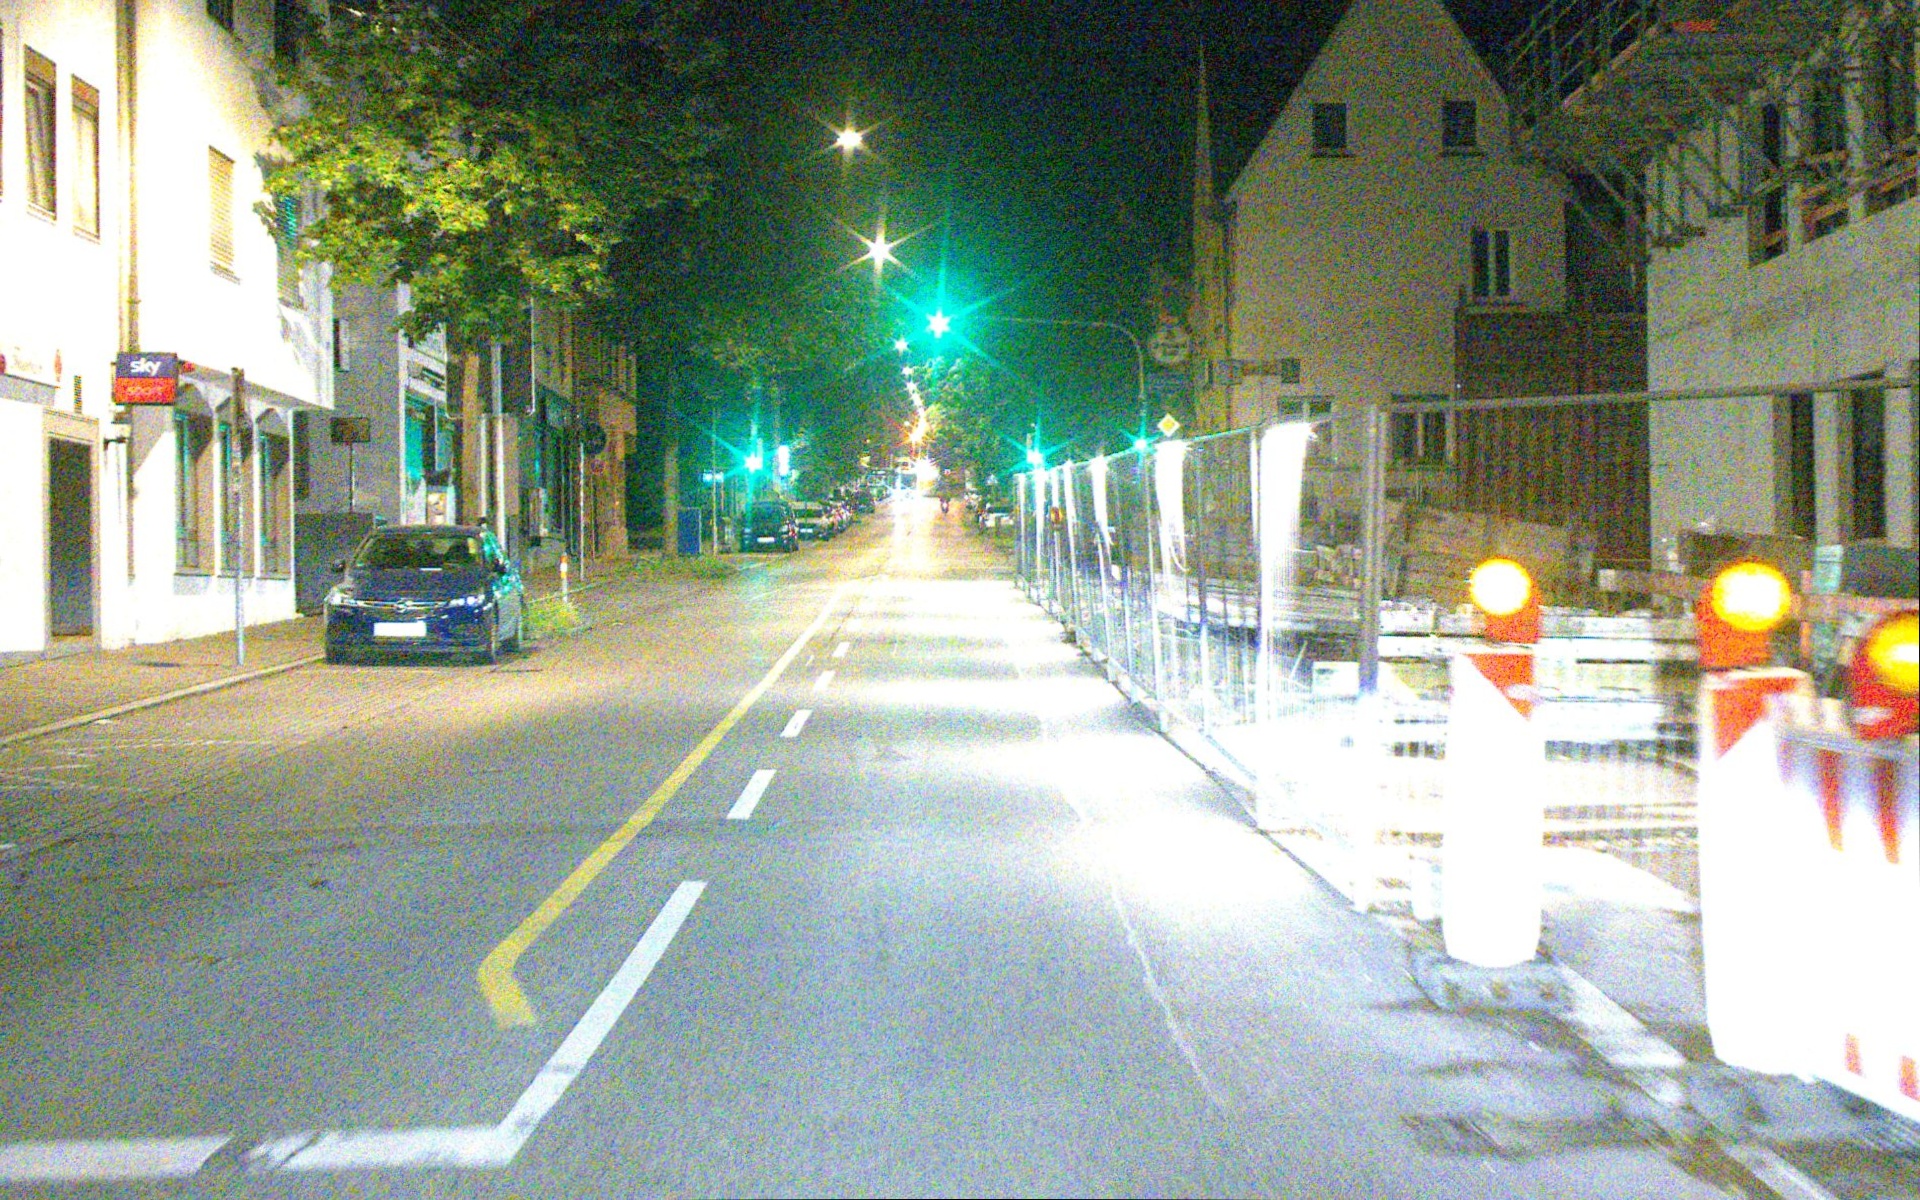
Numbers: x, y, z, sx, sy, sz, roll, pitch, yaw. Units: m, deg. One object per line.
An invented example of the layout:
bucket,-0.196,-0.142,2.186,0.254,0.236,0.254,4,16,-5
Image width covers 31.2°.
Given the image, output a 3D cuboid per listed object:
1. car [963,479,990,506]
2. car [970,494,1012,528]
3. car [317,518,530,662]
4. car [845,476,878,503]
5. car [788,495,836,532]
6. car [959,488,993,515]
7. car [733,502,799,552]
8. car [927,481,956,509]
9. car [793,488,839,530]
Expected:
car,1.202,-7.736,247.261,1.873,1.900,4.205,-1,2,0
car,1.435,-4.131,159.800,1.873,1.539,4.205,-1,2,0
car,-5.767,-0.149,37.374,1.671,1.438,4.205,-1,2,0
car,-6.769,-7.623,237.219,2.077,1.808,4.205,-1,2,1
car,-6.300,-3.712,146.818,1.873,1.539,4.205,-1,2,0
car,0.923,-5.681,198.731,1.873,1.539,4.205,-1,2,0
car,-6.143,-2.327,109.353,1.873,1.539,4.205,-1,2,0
car,-1.209,-7.039,230.670,1.873,1.808,4.205,-1,2,1
car,-6.398,-4.059,152.791,1.873,1.808,4.205,-1,2,0
